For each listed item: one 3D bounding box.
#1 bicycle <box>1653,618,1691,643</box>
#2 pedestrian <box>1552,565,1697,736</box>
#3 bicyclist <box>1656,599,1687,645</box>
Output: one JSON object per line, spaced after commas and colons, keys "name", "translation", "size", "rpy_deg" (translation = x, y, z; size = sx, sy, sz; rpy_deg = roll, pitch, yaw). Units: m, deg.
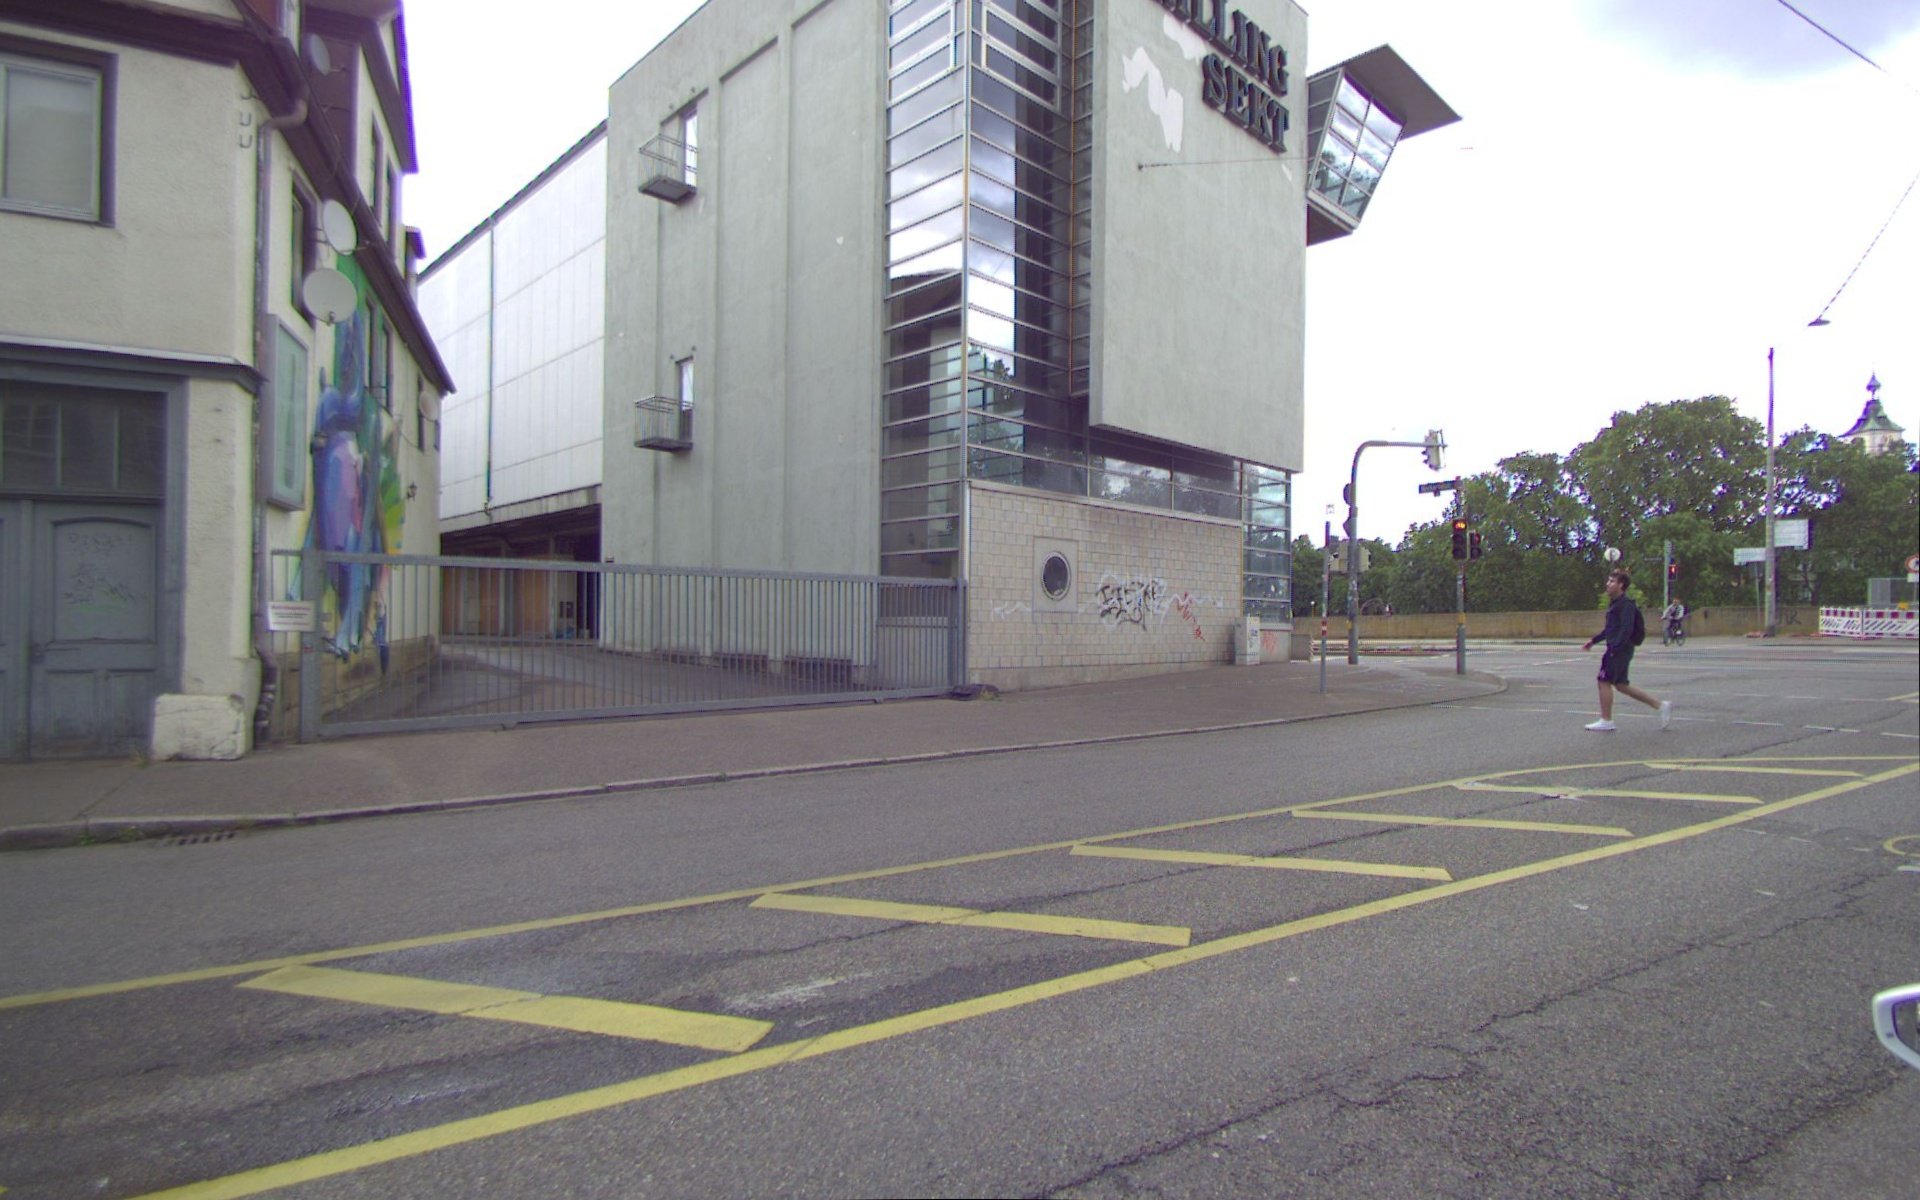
{"name": "bicycle", "translation": [26.971, 1.154, 38.051], "size": [1.860, 0.904, 0.538], "rpy_deg": [1, -1, -34]}
{"name": "pedestrian", "translation": [7.887, 0.552, 11.942], "size": [1.045, 1.911, 1.083], "rpy_deg": [-1, 1, -30]}
{"name": "bicyclist", "translation": [26.956, 0.819, 38.046], "size": [0.802, 1.723, 0.719], "rpy_deg": [1, -1, -34]}
